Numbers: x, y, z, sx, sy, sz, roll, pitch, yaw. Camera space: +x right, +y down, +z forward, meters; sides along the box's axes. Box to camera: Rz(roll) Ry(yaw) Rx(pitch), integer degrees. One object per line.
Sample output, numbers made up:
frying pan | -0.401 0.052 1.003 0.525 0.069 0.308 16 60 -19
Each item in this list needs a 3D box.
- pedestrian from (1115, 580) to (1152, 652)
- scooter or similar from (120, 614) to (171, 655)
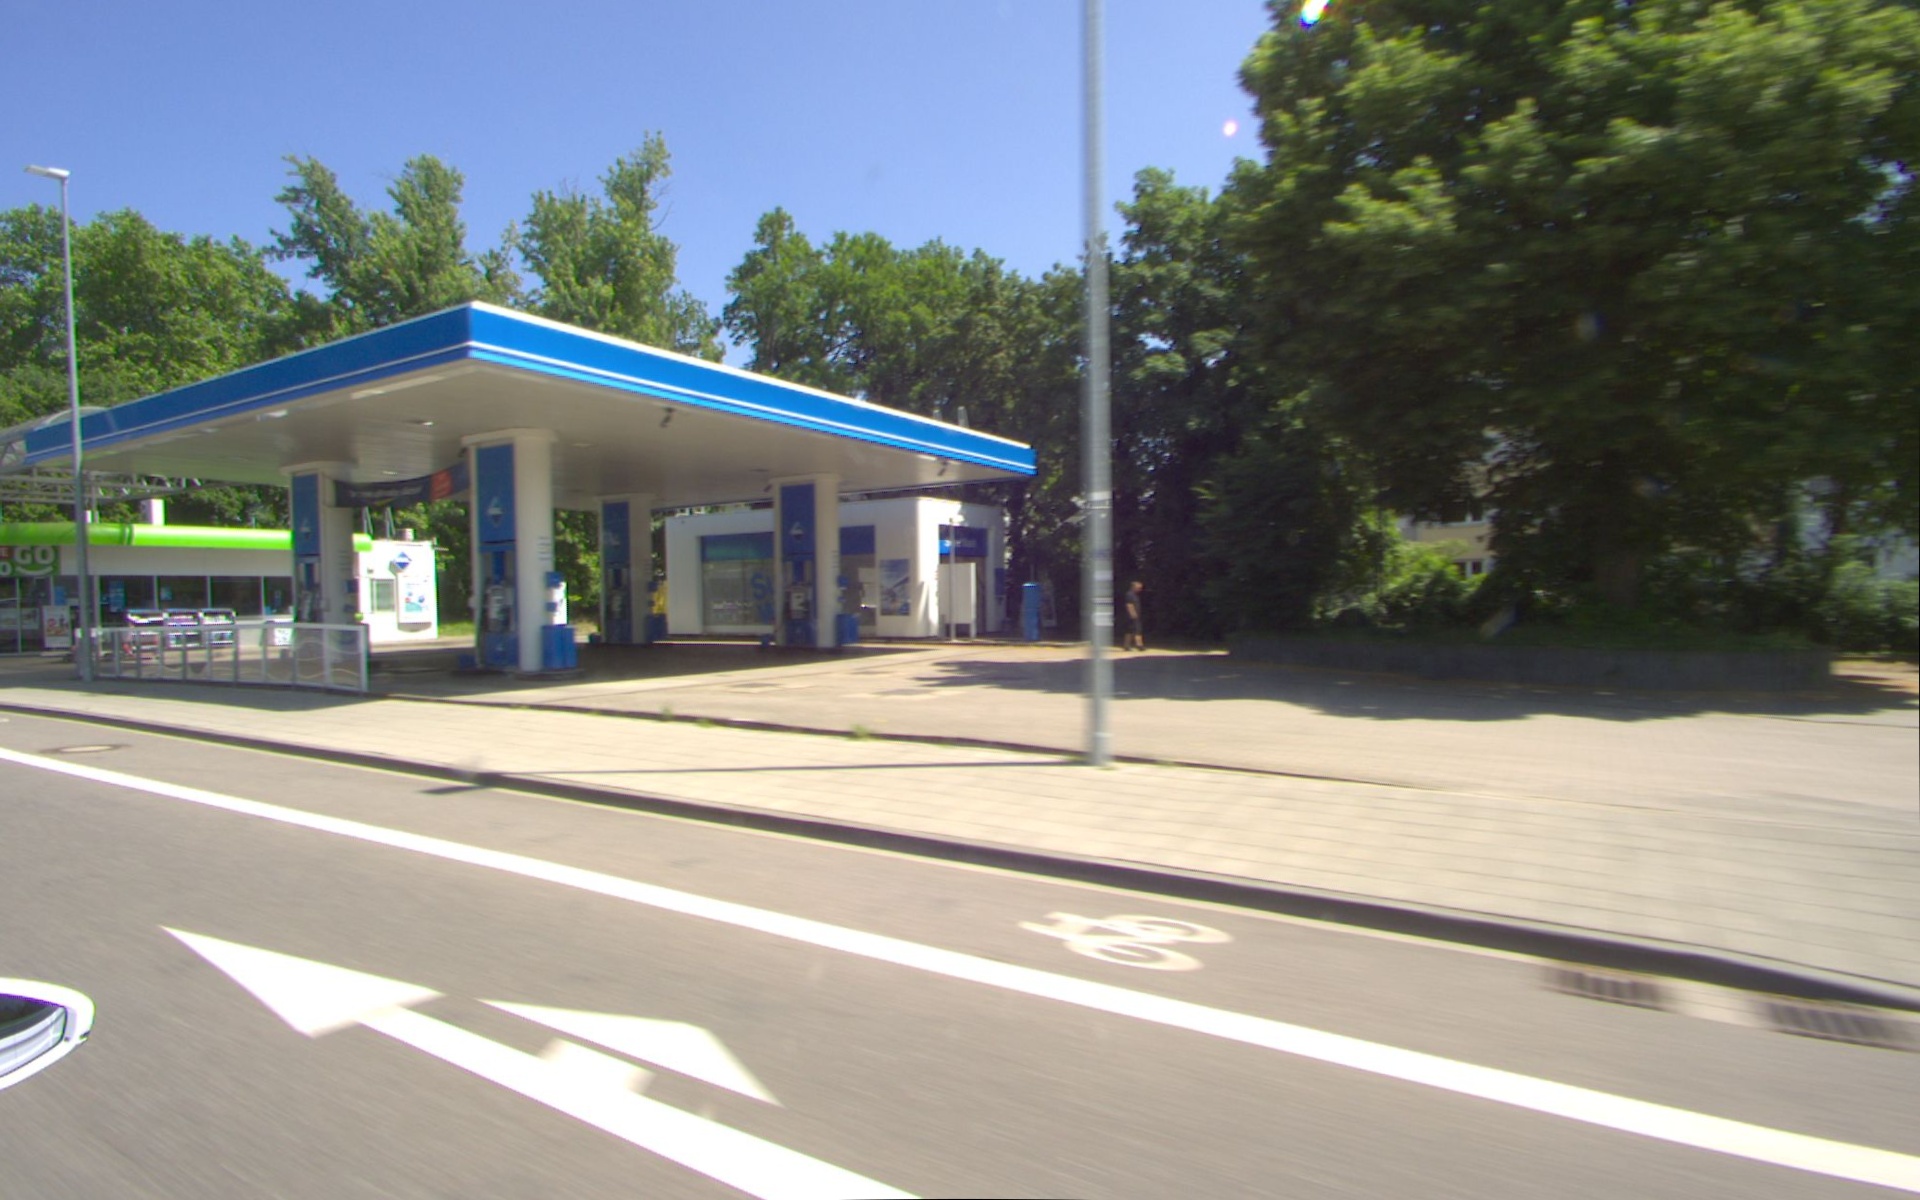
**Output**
pedestrian | 4.713 0.428 27.217 0.825 1.914 0.623 1 2 32
scooter or similar | -24.552 1.030 30.191 0.378 1.192 1.132 0 1 33
